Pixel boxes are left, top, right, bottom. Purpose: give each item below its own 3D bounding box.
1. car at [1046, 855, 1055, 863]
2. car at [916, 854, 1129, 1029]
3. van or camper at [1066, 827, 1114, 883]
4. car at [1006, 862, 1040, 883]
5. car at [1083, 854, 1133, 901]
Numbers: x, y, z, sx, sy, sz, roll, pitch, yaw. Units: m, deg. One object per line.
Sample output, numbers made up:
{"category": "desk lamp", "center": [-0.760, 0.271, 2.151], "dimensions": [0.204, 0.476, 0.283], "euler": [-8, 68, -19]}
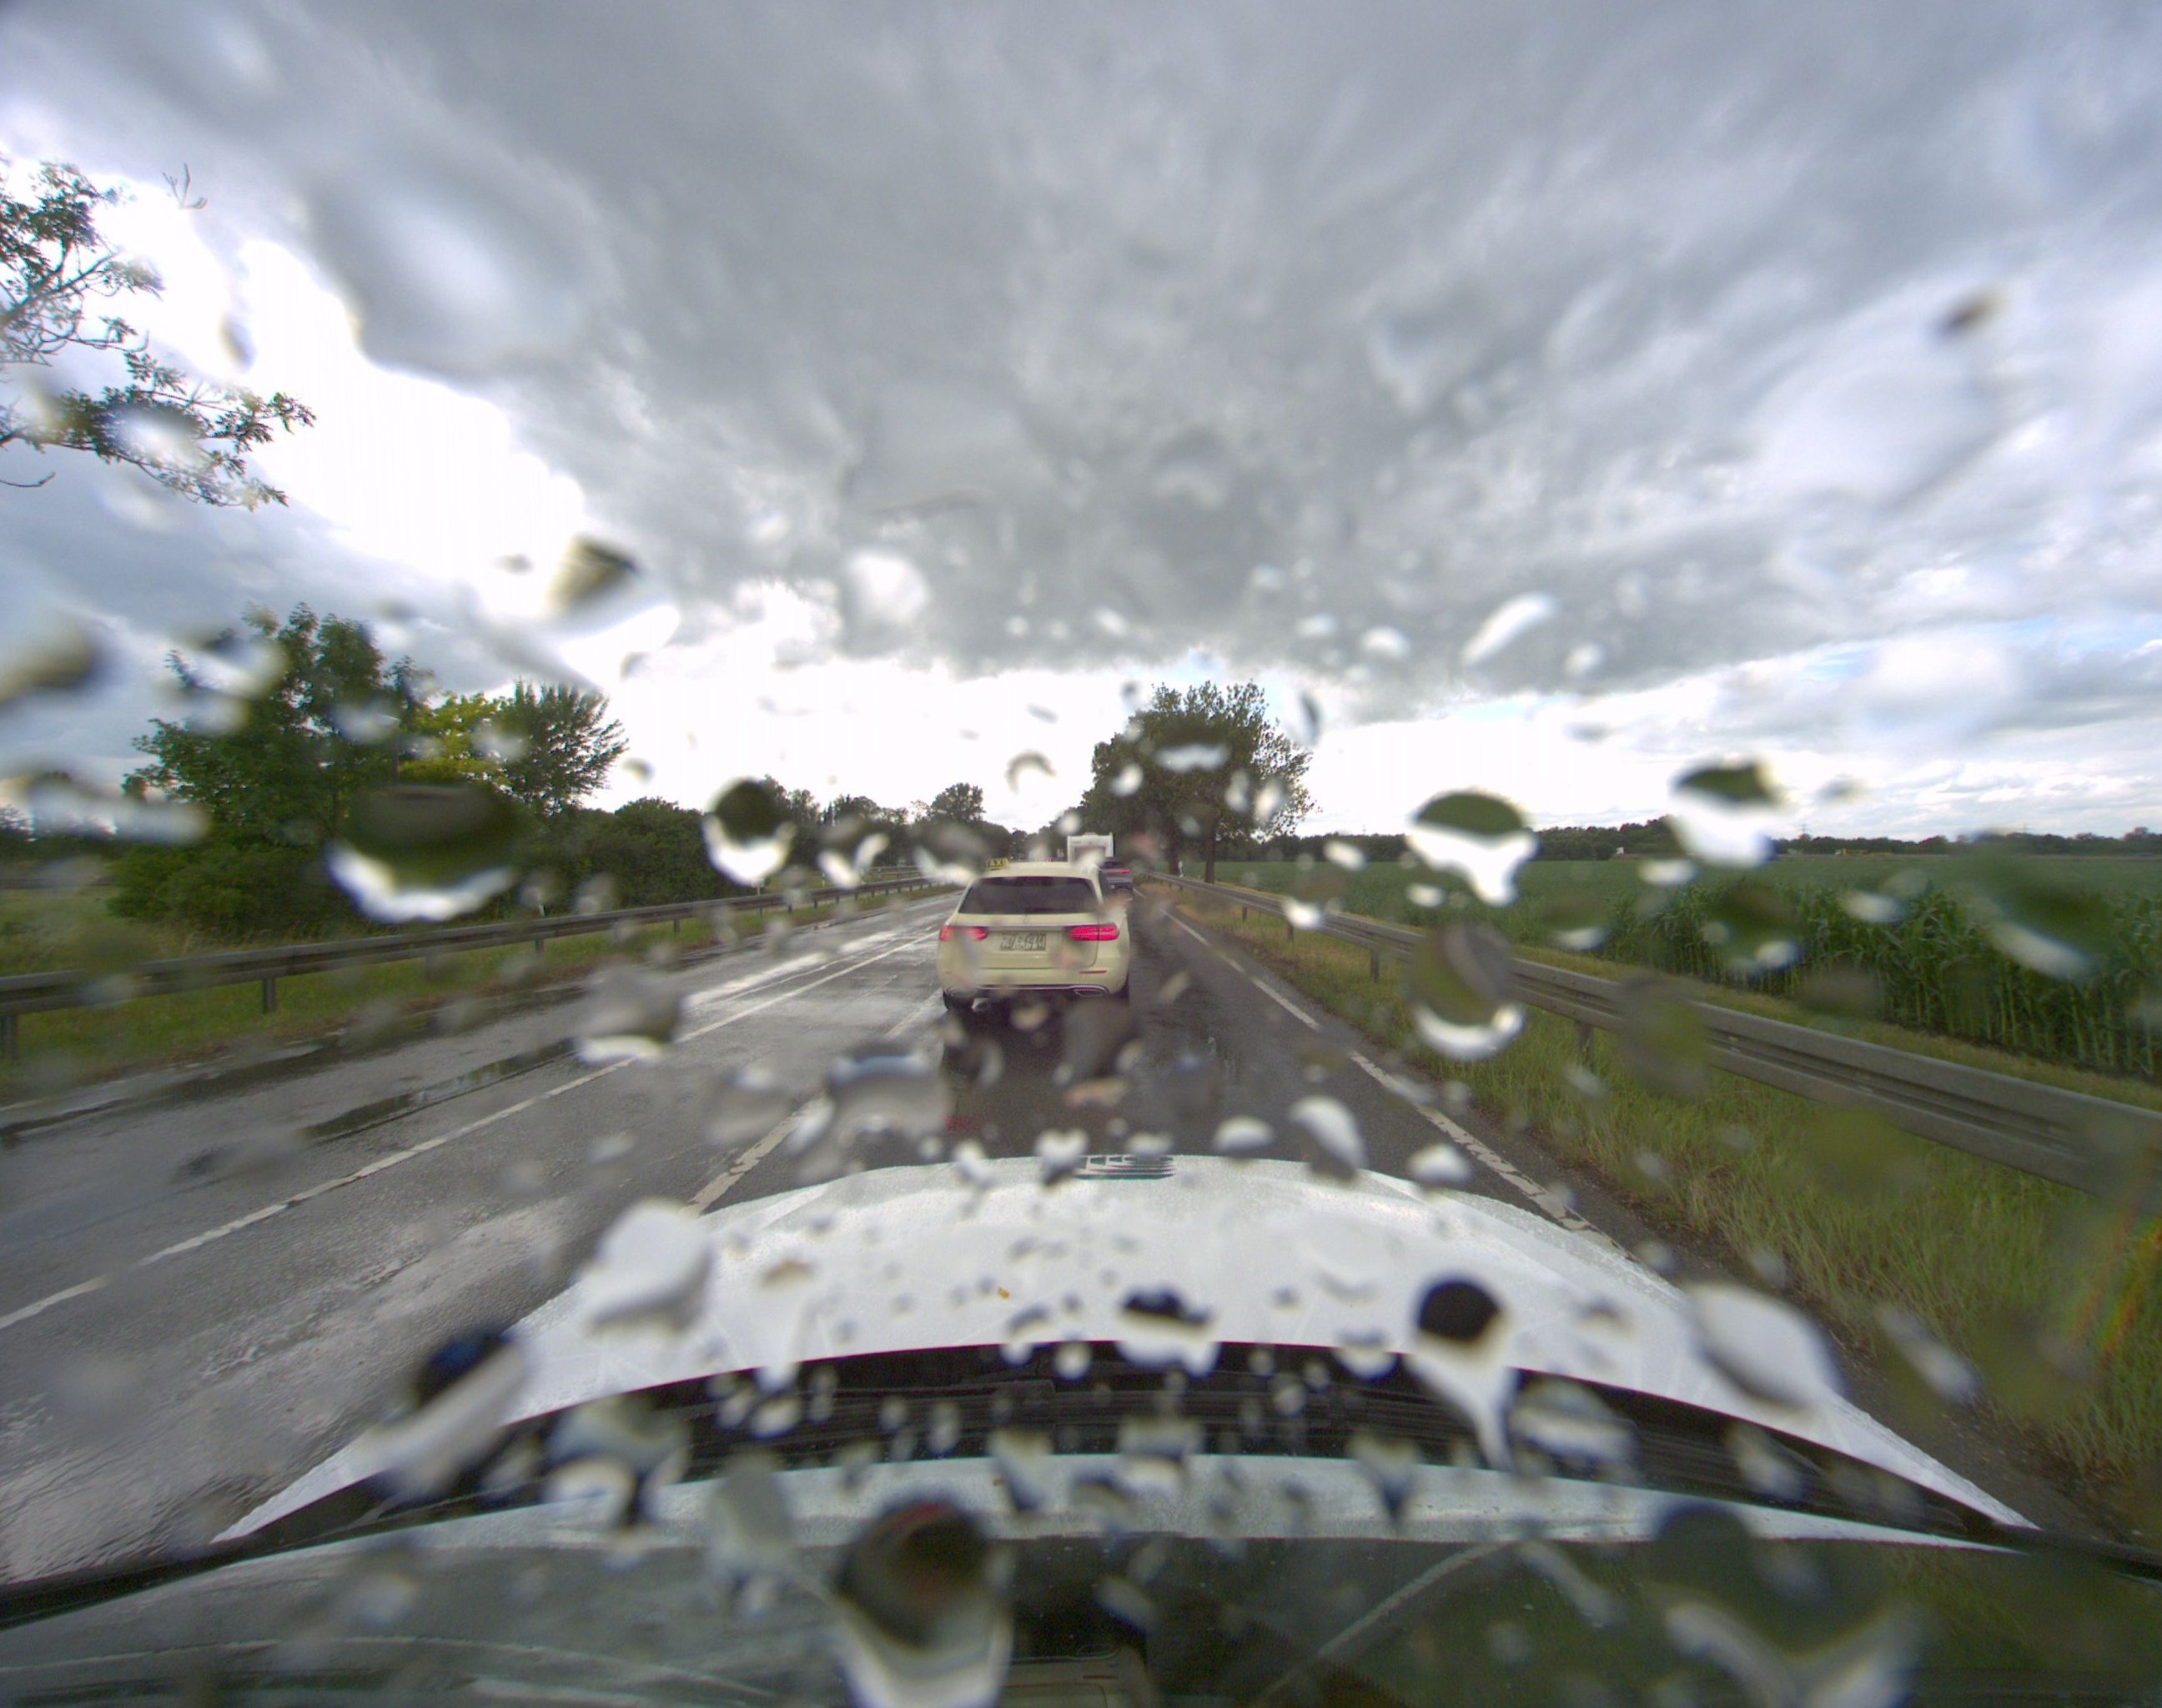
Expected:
{"category": "car", "center": [-7.884, 1.312, 209.473], "dimensions": [1.987, 2.051, 4.000], "euler": [0, 0, 0]}
{"category": "car", "center": [-0.408, 0.771, 9.129], "dimensions": [1.817, 1.485, 4.148], "euler": [-1, 0, 3]}
{"category": "van or camper", "center": [0.526, 0.034, 42.510], "dimensions": [2.342, 2.680, 5.770], "euler": [0, 0, 2]}
{"category": "car", "center": [-3.661, 1.177, 52.098], "dimensions": [1.752, 1.269, 4.001], "euler": [-1, 0, 2]}
{"category": "car", "center": [0.933, 0.760, 28.271], "dimensions": [1.621, 1.529, 3.934], "euler": [-1, 0, 2]}
